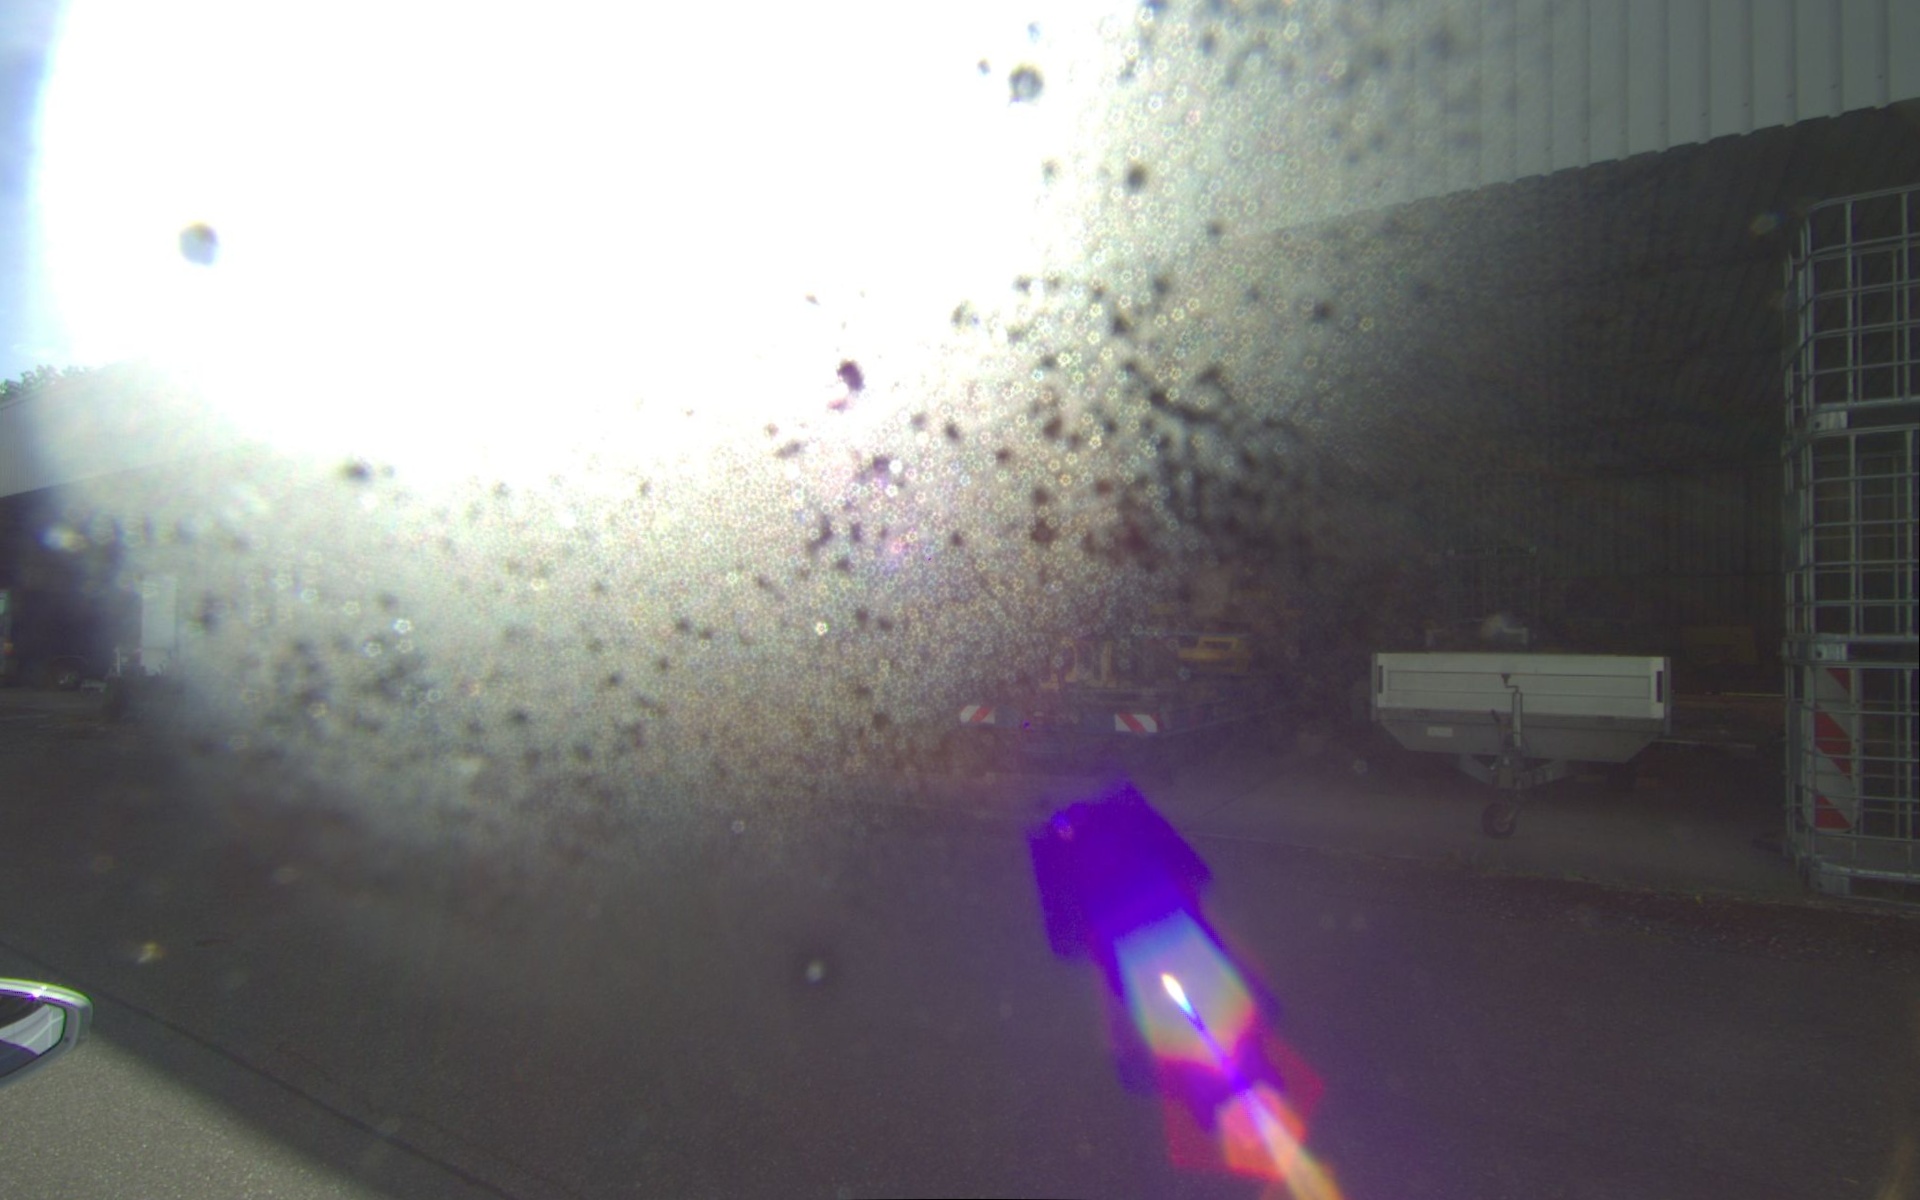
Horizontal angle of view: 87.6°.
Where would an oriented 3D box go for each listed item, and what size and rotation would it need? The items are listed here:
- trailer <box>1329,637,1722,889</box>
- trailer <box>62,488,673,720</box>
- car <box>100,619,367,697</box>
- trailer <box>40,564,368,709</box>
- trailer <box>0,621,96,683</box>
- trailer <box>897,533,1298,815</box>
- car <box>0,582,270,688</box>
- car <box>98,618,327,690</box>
[{"bbox_3d":[4.570,0.963,8.205,1.945,1.200,5.720,-1,-1,30],"label":"trailer"},{"bbox_3d":[-10.554,0.141,19.694,2.761,3.386,10.249,0,-1,32],"label":"trailer"},{"bbox_3d":[-15.342,1.180,21.402,1.841,1.490,4.245,0,-2,29],"label":"car"},{"bbox_3d":[-13.978,0.645,18.808,2.018,2.372,4.507,-1,-1,32],"label":"trailer"},{"bbox_3d":[-23.272,1.275,25.156,1.715,1.485,2.032,-1,-1,36],"label":"trailer"},{"bbox_3d":[1.568,0.577,9.606,2.133,2.016,4.413,-1,-1,33],"label":"trailer"},{"bbox_3d":[-20.505,0.862,24.749,2.121,2.310,5.325,-1,-2,31],"label":"car"},{"bbox_3d":[-17.517,1.233,23.673,1.812,1.533,3.961,-1,-2,29],"label":"car"}]
